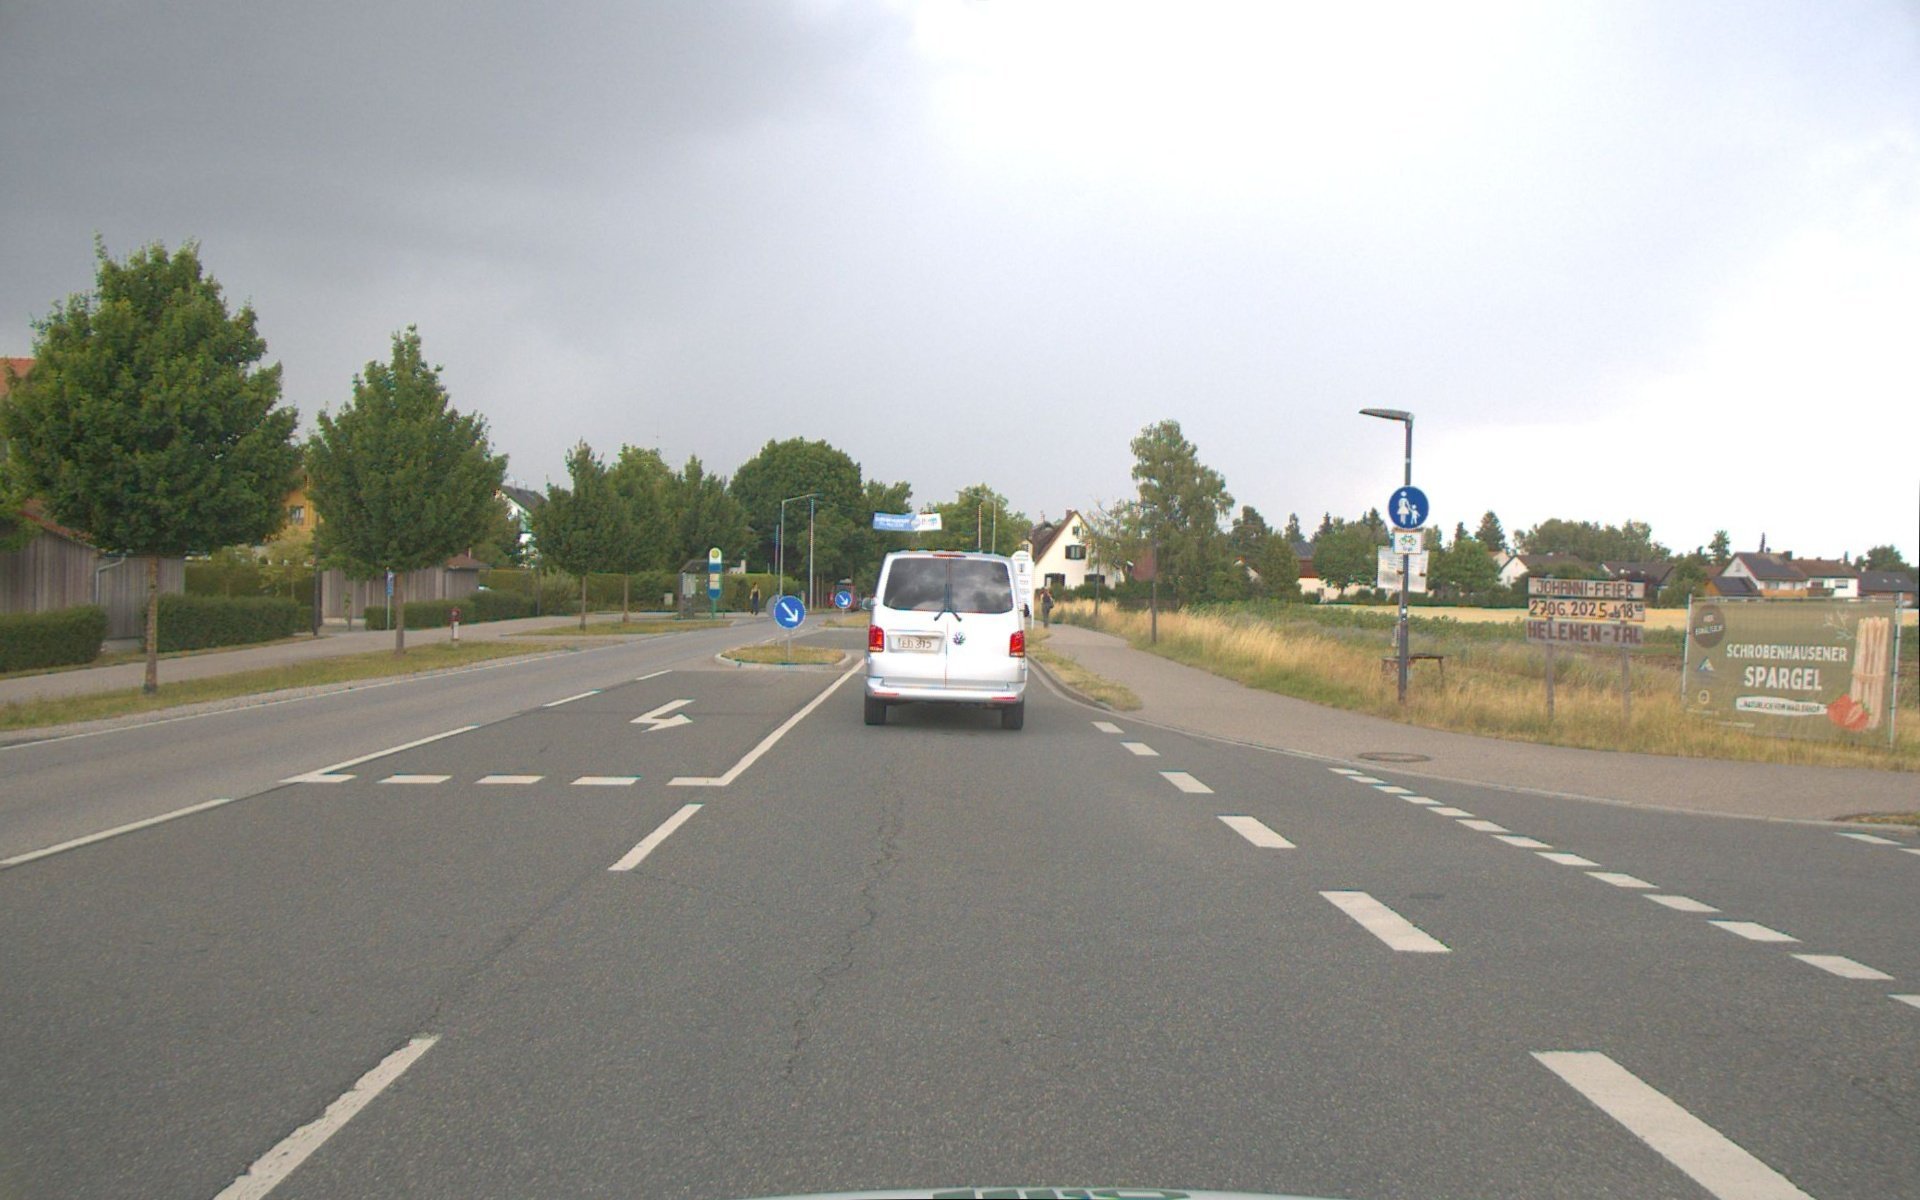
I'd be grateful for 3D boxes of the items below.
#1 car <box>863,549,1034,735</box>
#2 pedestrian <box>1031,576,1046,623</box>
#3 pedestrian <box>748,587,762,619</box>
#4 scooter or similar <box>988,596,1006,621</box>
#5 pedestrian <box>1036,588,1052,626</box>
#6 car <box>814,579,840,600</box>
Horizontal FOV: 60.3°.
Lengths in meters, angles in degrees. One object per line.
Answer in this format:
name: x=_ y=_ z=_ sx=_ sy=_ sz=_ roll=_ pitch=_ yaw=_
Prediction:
car: x=-0.198 y=0.431 z=19.868 sx=1.789 sy=1.947 sz=3.998 roll=2 pitch=1 yaw=-2
pedestrian: x=3.008 y=-0.023 z=63.529 sx=0.476 sy=1.762 sz=0.641 roll=-1 pitch=0 yaw=-8
pedestrian: x=-10.240 y=0.140 z=82.706 sx=0.611 sy=1.551 sz=0.679 roll=-1 pitch=0 yaw=-1
scooter or similar: x=1.753 y=0.397 z=78.381 sx=0.831 sy=1.123 sz=1.094 roll=-1 pitch=1 yaw=-1
pedestrian: x=3.555 y=0.294 z=69.914 sx=0.611 sy=1.551 sz=0.679 roll=-1 pitch=0 yaw=-1
car: x=-9.671 y=-0.763 z=120.188 sx=1.620 sy=1.454 sz=3.601 roll=-1 pitch=1 yaw=-1
